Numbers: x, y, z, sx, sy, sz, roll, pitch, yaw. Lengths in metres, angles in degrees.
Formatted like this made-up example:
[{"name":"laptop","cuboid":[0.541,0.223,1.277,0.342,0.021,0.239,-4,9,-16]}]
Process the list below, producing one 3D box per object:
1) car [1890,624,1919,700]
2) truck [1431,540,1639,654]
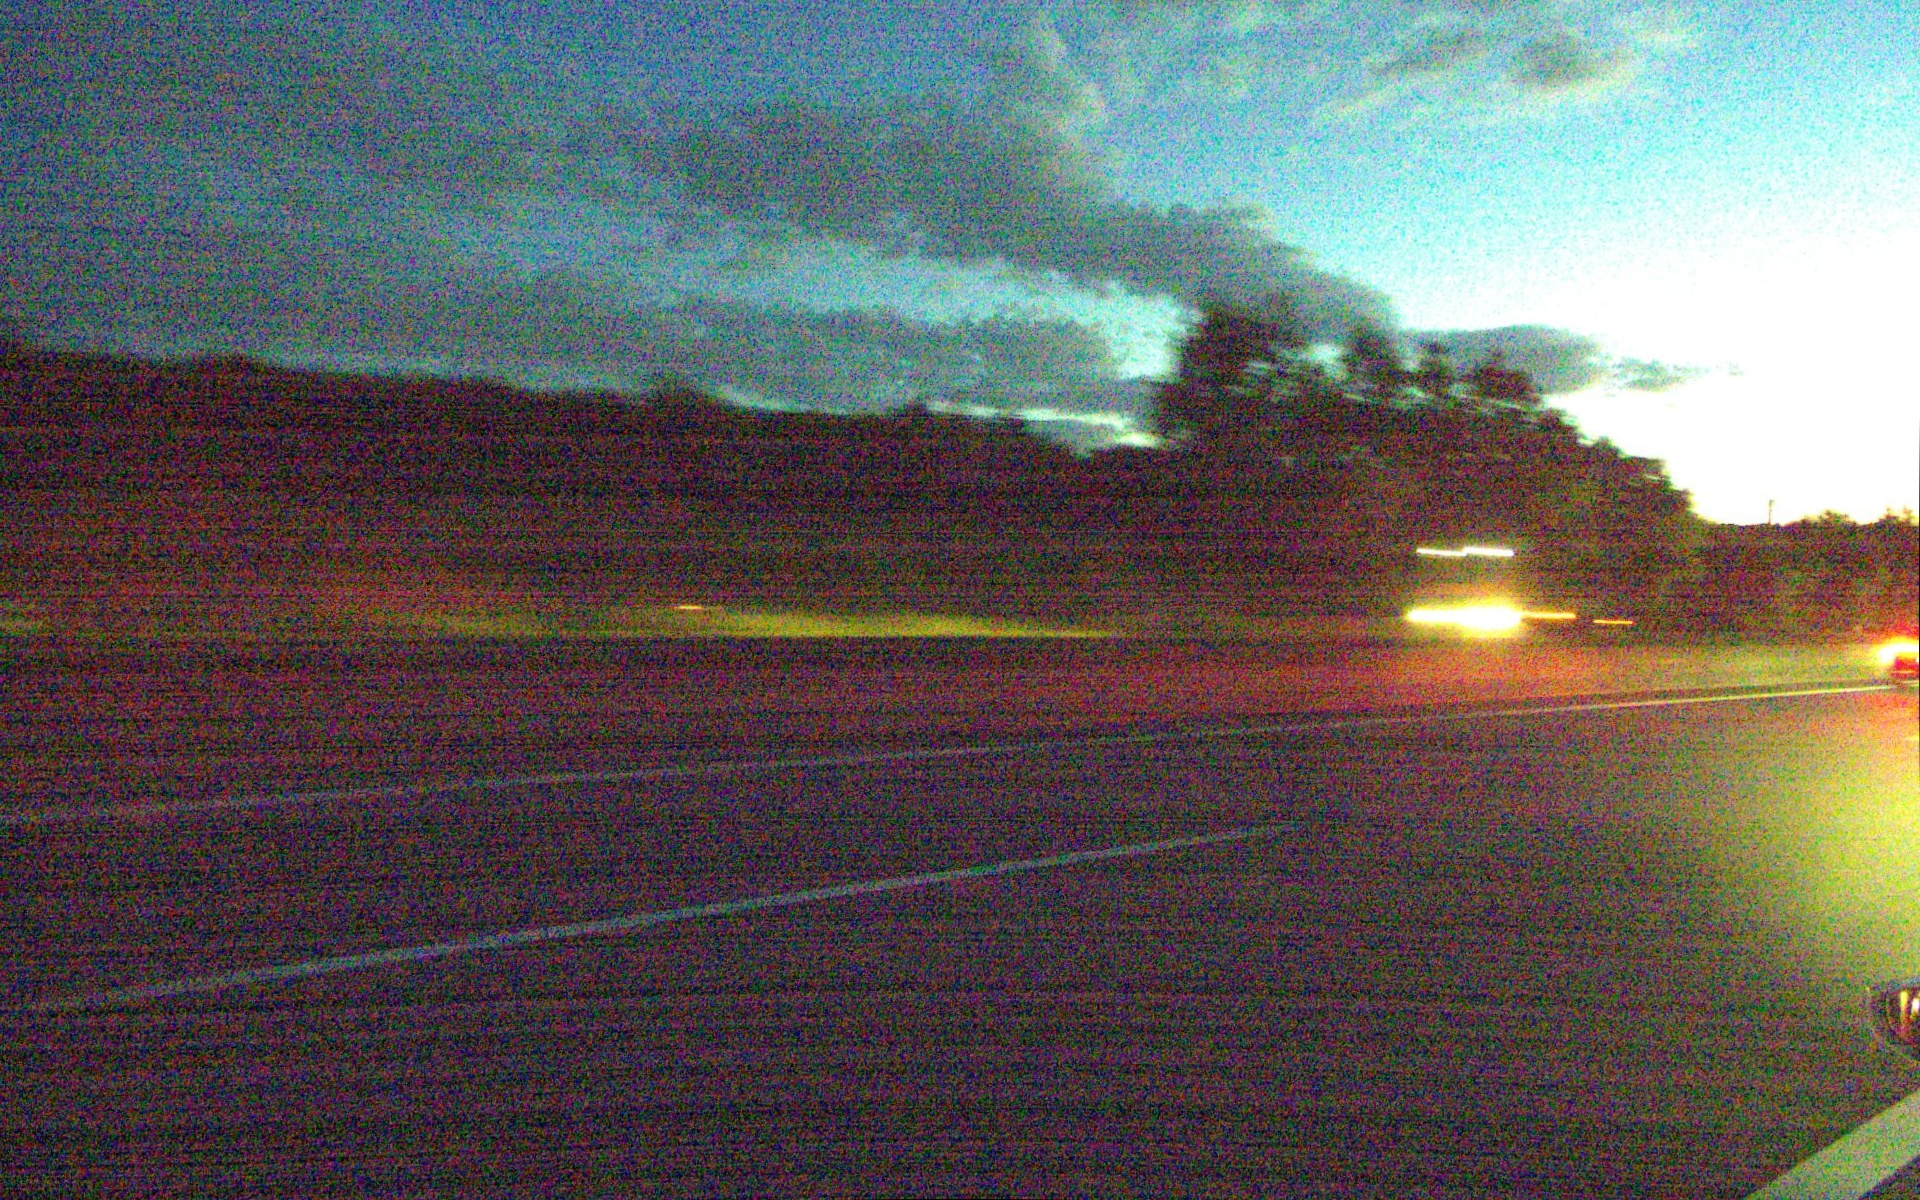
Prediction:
[{"name":"car","cuboid":[20.834,1.269,20.344,5.453,1.450,1.541,2,-1,-32]},{"name":"truck","cuboid":[21.573,-0.022,37.494,8.956,3.903,2.508,1,0,-30]}]
